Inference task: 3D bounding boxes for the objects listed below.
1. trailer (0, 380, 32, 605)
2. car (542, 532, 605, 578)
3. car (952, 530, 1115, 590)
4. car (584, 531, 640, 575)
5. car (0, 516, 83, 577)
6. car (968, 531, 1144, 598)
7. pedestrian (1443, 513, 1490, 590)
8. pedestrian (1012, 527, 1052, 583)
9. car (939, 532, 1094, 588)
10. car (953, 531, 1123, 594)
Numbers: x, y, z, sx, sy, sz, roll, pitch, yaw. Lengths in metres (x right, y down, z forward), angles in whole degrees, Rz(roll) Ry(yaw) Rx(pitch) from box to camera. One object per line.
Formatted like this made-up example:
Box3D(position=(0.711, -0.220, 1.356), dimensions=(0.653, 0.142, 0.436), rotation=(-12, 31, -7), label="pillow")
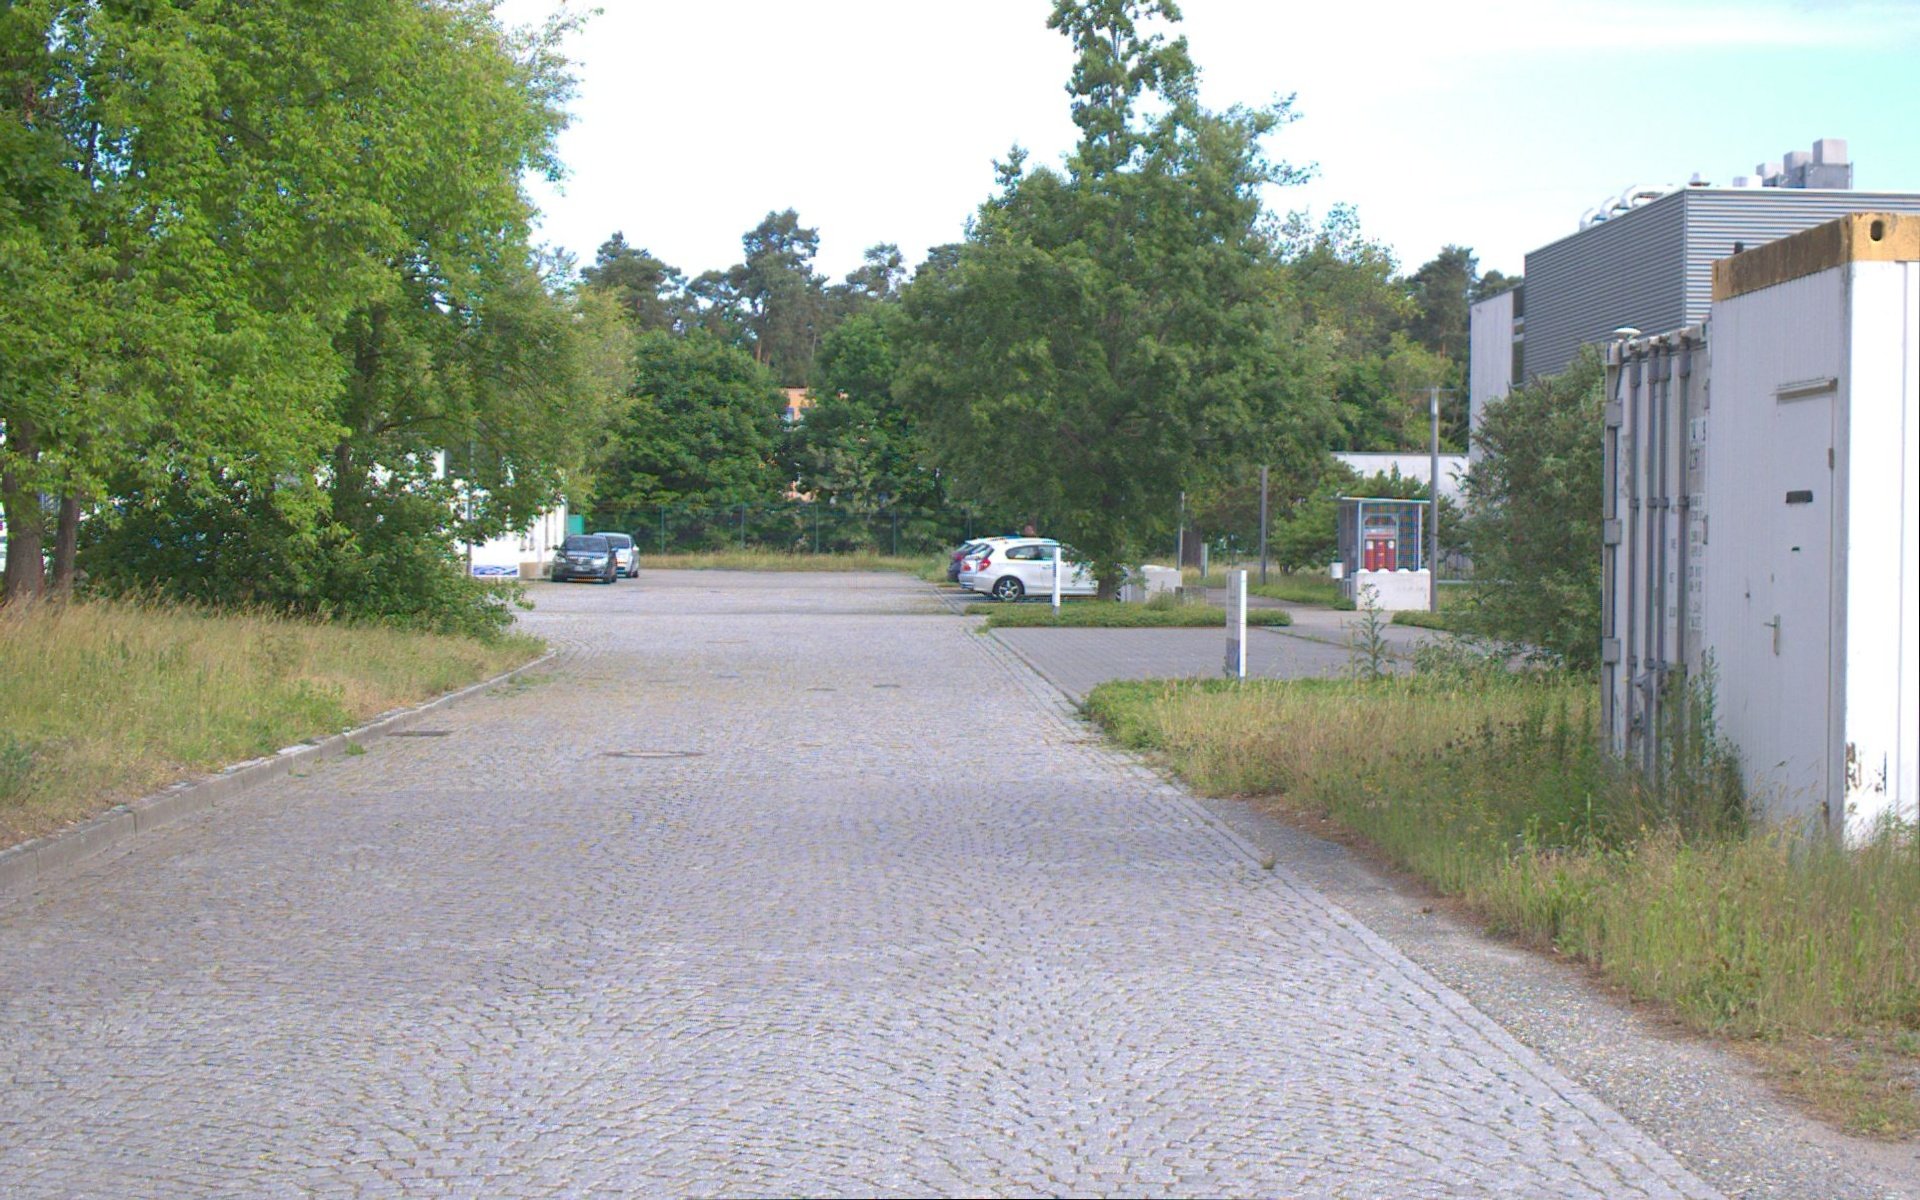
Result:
Box3D(position=(-17.099, -1.699, 52.863), dimensions=(2.656, 3.693, 10.722), rotation=(0, 1, 0), label="trailer")
Box3D(position=(-11.679, -1.376, 104.098), dimensions=(1.748, 1.359, 4.001), rotation=(0, 1, -4), label="car")
Box3D(position=(1.814, -0.996, 85.688), dimensions=(3.986, 1.450, 1.770), rotation=(0, 1, -1), label="car")
Box3D(position=(-11.561, -1.577, 114.351), dimensions=(1.748, 1.449, 4.001), rotation=(0, 1, -4), label="car")
Box3D(position=(-24.649, -1.432, 90.910), dimensions=(1.900, 1.569, 4.000), rotation=(0, 1, 0), label="car")
Box3D(position=(2.227, -0.831, 80.489), dimensions=(3.986, 1.450, 2.000), rotation=(1, 0, -1), label="car")
Box3D(position=(13.170, -1.266, 89.443), dimensions=(0.920, 2.007, 1.147), rotation=(0, 1, -7), label="pedestrian")
Box3D(position=(2.000, -1.254, 95.629), dimensions=(0.968, 1.563, 0.942), rotation=(1, 1, 10), label="pedestrian")
Box3D(position=(1.469, -1.062, 90.585), dimensions=(3.986, 1.450, 1.770), rotation=(0, 1, -1), label="car")
Box3D(position=(1.859, -0.910, 82.648), dimensions=(3.986, 1.450, 1.697), rotation=(0, 1, -1), label="car")
